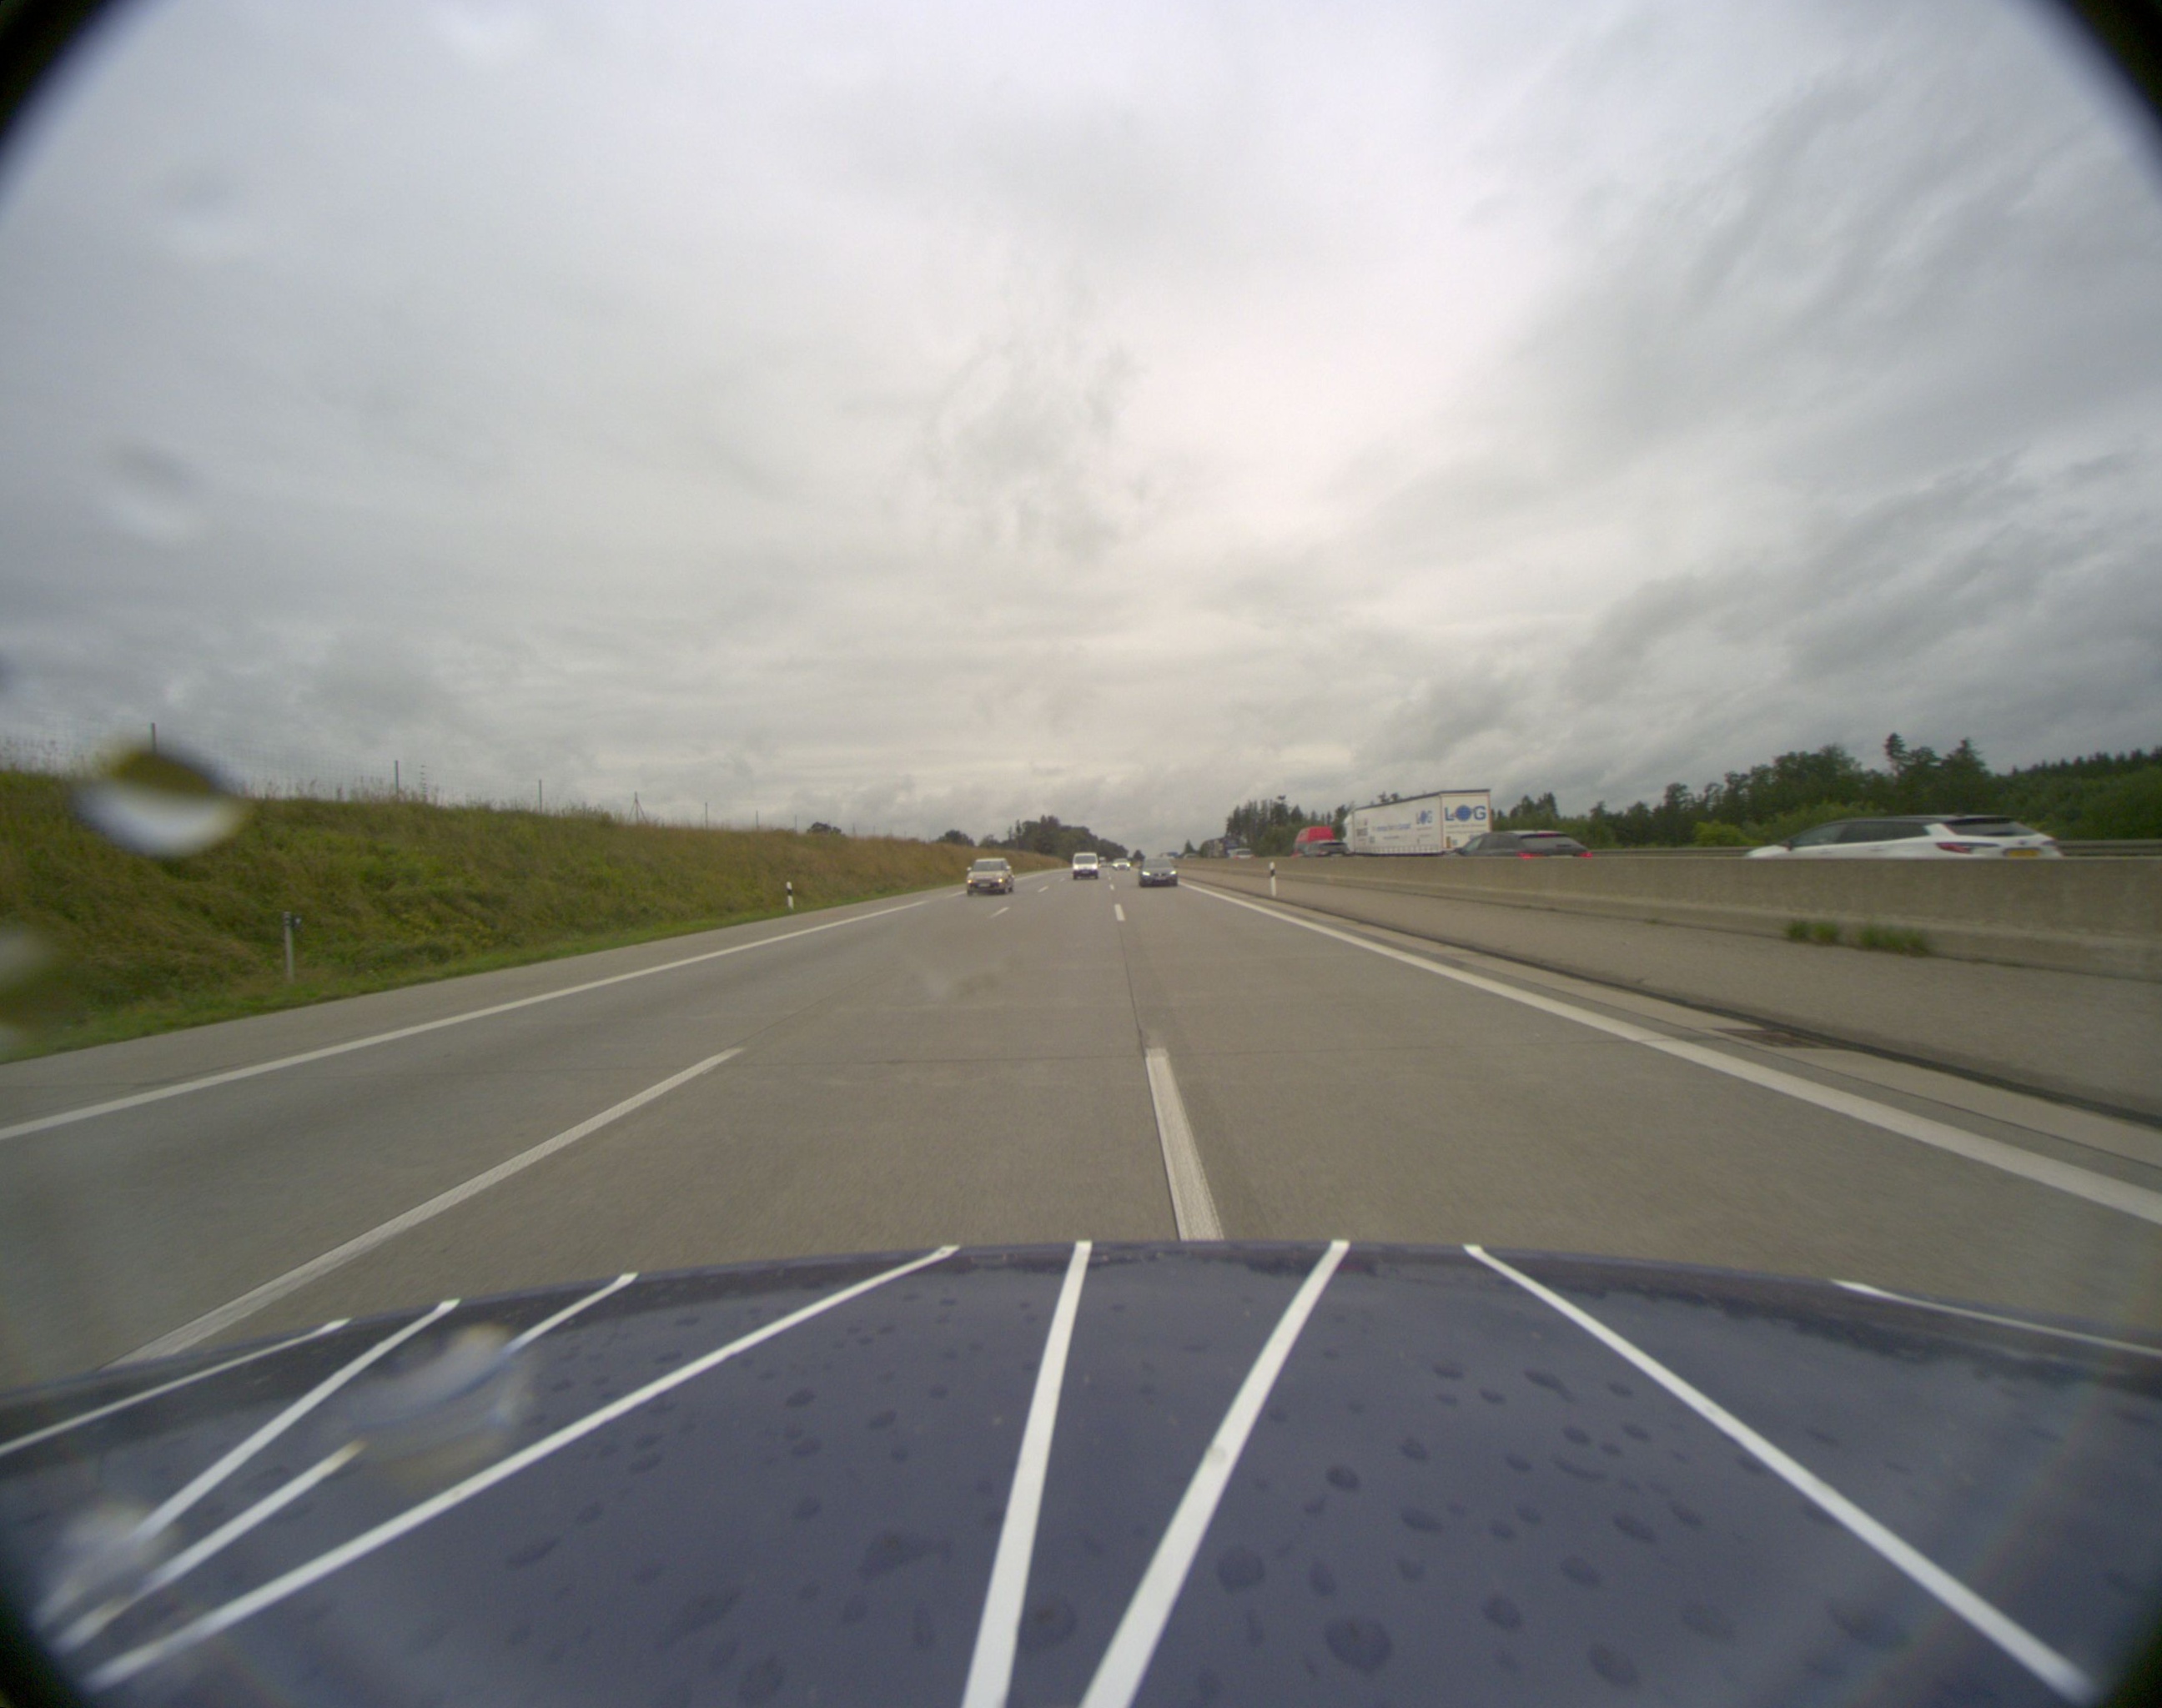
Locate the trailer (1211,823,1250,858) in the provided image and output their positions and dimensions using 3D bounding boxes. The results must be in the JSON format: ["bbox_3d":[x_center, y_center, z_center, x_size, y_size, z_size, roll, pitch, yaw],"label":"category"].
[{"bbox_3d":[22.843,-1.934,116.898,3.607,4.771,12.910,-2,-1,2],"label":"trailer"}]

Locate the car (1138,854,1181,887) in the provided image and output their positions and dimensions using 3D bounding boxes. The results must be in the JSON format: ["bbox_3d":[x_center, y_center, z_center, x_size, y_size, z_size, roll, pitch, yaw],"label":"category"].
[{"bbox_3d":[3.908,0.812,38.368,1.789,1.471,4.572,-2,-1,2],"label":"car"}]

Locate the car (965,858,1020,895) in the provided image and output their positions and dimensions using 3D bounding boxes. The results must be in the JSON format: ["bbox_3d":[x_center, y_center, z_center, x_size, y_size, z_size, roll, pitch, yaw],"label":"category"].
[{"bbox_3d":[-4.049,1.009,35.467,1.789,1.595,4.572,-2,-1,2],"label":"car"}]

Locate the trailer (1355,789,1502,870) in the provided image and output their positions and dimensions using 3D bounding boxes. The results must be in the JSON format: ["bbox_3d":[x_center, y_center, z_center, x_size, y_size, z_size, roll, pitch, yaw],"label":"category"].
[{"bbox_3d":[19.896,-1.171,44.863,2.895,3.979,13.017,-2,-1,2],"label":"trailer"}]

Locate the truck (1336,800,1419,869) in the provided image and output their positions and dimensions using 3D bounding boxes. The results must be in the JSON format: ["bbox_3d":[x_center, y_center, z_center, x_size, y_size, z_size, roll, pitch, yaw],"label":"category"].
[{"bbox_3d":[20.096,-1.217,51.974,2.890,4.265,7.138,-2,-1,1],"label":"truck"}]

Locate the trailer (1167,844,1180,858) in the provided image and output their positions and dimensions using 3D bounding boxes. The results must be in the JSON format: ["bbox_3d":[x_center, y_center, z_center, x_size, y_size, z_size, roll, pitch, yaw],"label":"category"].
[{"bbox_3d":[26.969,-0.833,222.796,2.856,3.814,12.402,-2,-1,3],"label":"trailer"}]

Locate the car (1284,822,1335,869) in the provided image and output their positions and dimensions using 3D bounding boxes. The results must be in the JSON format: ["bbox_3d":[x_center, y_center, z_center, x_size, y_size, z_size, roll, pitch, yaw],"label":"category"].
[{"bbox_3d":[15.545,-0.527,51.943,1.805,2.941,5.579,-2,0,1],"label":"car"}]

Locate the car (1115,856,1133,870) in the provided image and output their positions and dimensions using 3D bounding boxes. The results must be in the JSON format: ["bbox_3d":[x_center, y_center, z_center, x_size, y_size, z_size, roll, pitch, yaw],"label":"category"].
[{"bbox_3d":[5.449,1.174,95.997,2.030,1.669,4.321,-2,-1,5],"label":"car"}]

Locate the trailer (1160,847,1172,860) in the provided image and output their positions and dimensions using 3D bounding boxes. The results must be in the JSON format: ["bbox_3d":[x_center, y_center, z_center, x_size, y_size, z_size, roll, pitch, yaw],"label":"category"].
[{"bbox_3d":[29.372,-0.080,262.803,3.491,4.176,12.932,-2,-1,3],"label":"trailer"}]

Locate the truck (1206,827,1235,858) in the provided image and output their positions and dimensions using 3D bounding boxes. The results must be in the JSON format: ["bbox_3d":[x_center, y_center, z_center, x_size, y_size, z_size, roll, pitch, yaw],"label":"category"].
[{"bbox_3d":[23.086,-1.864,126.097,3.596,4.790,5.870,-2,0,2],"label":"truck"}]

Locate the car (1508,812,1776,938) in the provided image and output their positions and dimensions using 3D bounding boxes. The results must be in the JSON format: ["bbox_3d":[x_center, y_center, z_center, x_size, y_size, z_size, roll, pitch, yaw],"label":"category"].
[{"bbox_3d":[10.573,0.340,14.896,1.692,2.002,4.837,-2,0,1],"label":"car"}]

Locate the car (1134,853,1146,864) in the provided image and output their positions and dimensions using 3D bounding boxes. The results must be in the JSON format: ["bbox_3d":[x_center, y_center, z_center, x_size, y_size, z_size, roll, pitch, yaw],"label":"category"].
[{"bbox_3d":[9.679,0.780,125.070,1.885,1.669,4.320,-2,-1,3],"label":"car"}]

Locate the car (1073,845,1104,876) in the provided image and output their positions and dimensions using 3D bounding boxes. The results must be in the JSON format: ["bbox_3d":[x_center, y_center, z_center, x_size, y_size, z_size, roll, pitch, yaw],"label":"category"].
[{"bbox_3d":[0.646,0.509,56.952,2.042,2.111,6.070,-2,-1,3],"label":"car"}]

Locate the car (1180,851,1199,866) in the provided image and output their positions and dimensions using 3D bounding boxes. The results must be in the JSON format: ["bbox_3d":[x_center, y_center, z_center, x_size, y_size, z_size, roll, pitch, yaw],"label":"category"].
[{"bbox_3d":[13.341,0.537,93.401,1.748,1.755,4.430,-2,-1,1],"label":"car"}]

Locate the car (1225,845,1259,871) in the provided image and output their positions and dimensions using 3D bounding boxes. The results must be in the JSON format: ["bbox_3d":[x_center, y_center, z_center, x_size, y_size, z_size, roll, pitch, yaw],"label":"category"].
[{"bbox_3d":[13.006,0.329,61.673,1.806,2.001,4.727,-2,-1,1],"label":"car"}]

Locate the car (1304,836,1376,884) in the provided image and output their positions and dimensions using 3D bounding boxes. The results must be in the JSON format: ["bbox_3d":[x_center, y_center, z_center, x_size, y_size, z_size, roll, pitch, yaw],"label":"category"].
[{"bbox_3d":[11.794,0.262,34.938,1.692,2.002,4.837,-2,0,1],"label":"car"}]

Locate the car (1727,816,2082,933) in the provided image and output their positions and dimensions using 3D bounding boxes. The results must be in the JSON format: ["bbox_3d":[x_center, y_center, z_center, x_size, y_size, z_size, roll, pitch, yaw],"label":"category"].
[{"bbox_3d":[14.516,0.340,13.886,1.499,1.738,4.579,-2,-1,1],"label":"car"}]
